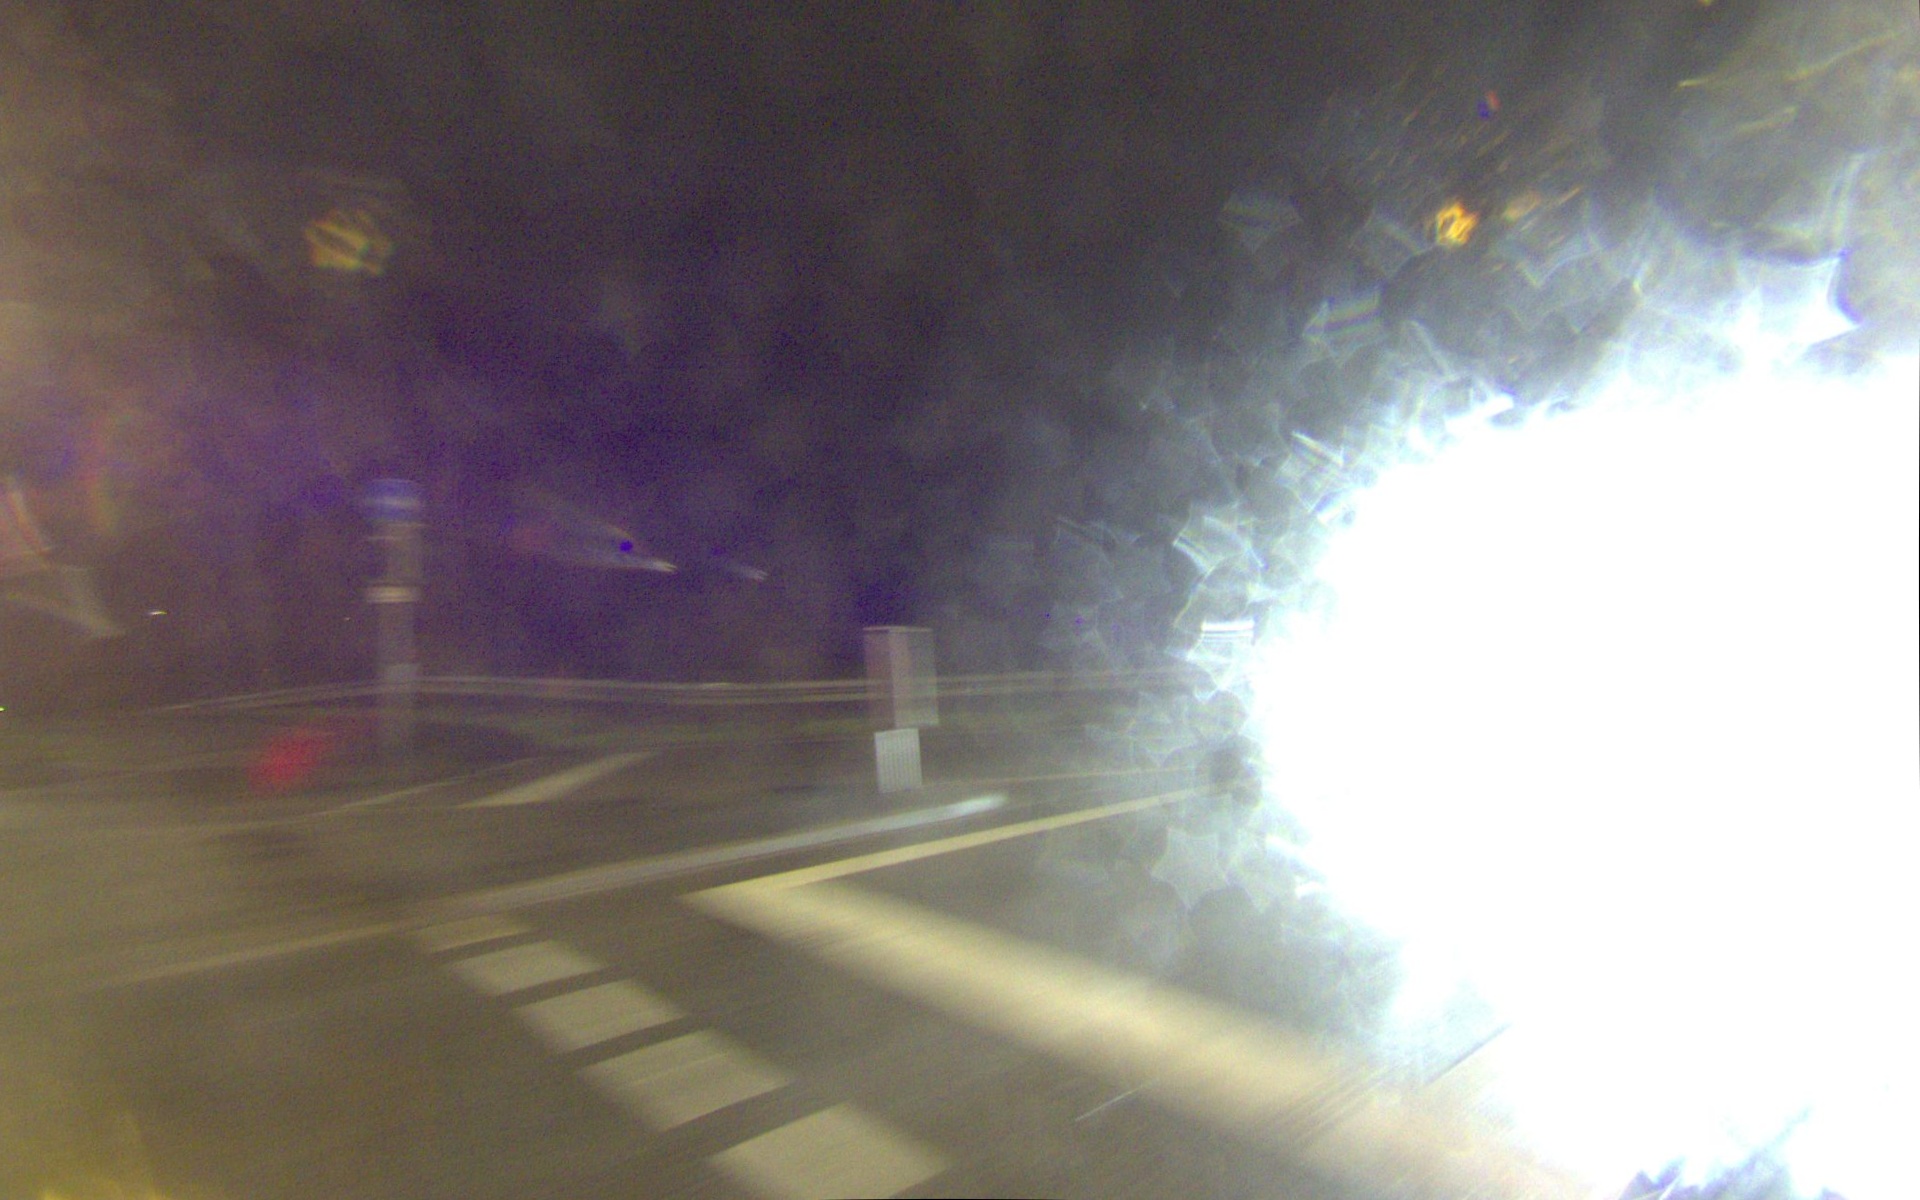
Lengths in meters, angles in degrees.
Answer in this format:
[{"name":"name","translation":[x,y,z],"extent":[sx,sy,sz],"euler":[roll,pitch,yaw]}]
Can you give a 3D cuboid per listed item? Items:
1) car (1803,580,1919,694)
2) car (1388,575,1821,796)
[{"name":"car","translation":[14.994,0.475,15.569],"extent":[4.327,1.541,1.713],"euler":[-2,-1,-31]},{"name":"car","translation":[5.882,0.618,9.033],"extent":[4.474,1.526,1.677],"euler":[0,-3,-36]}]
